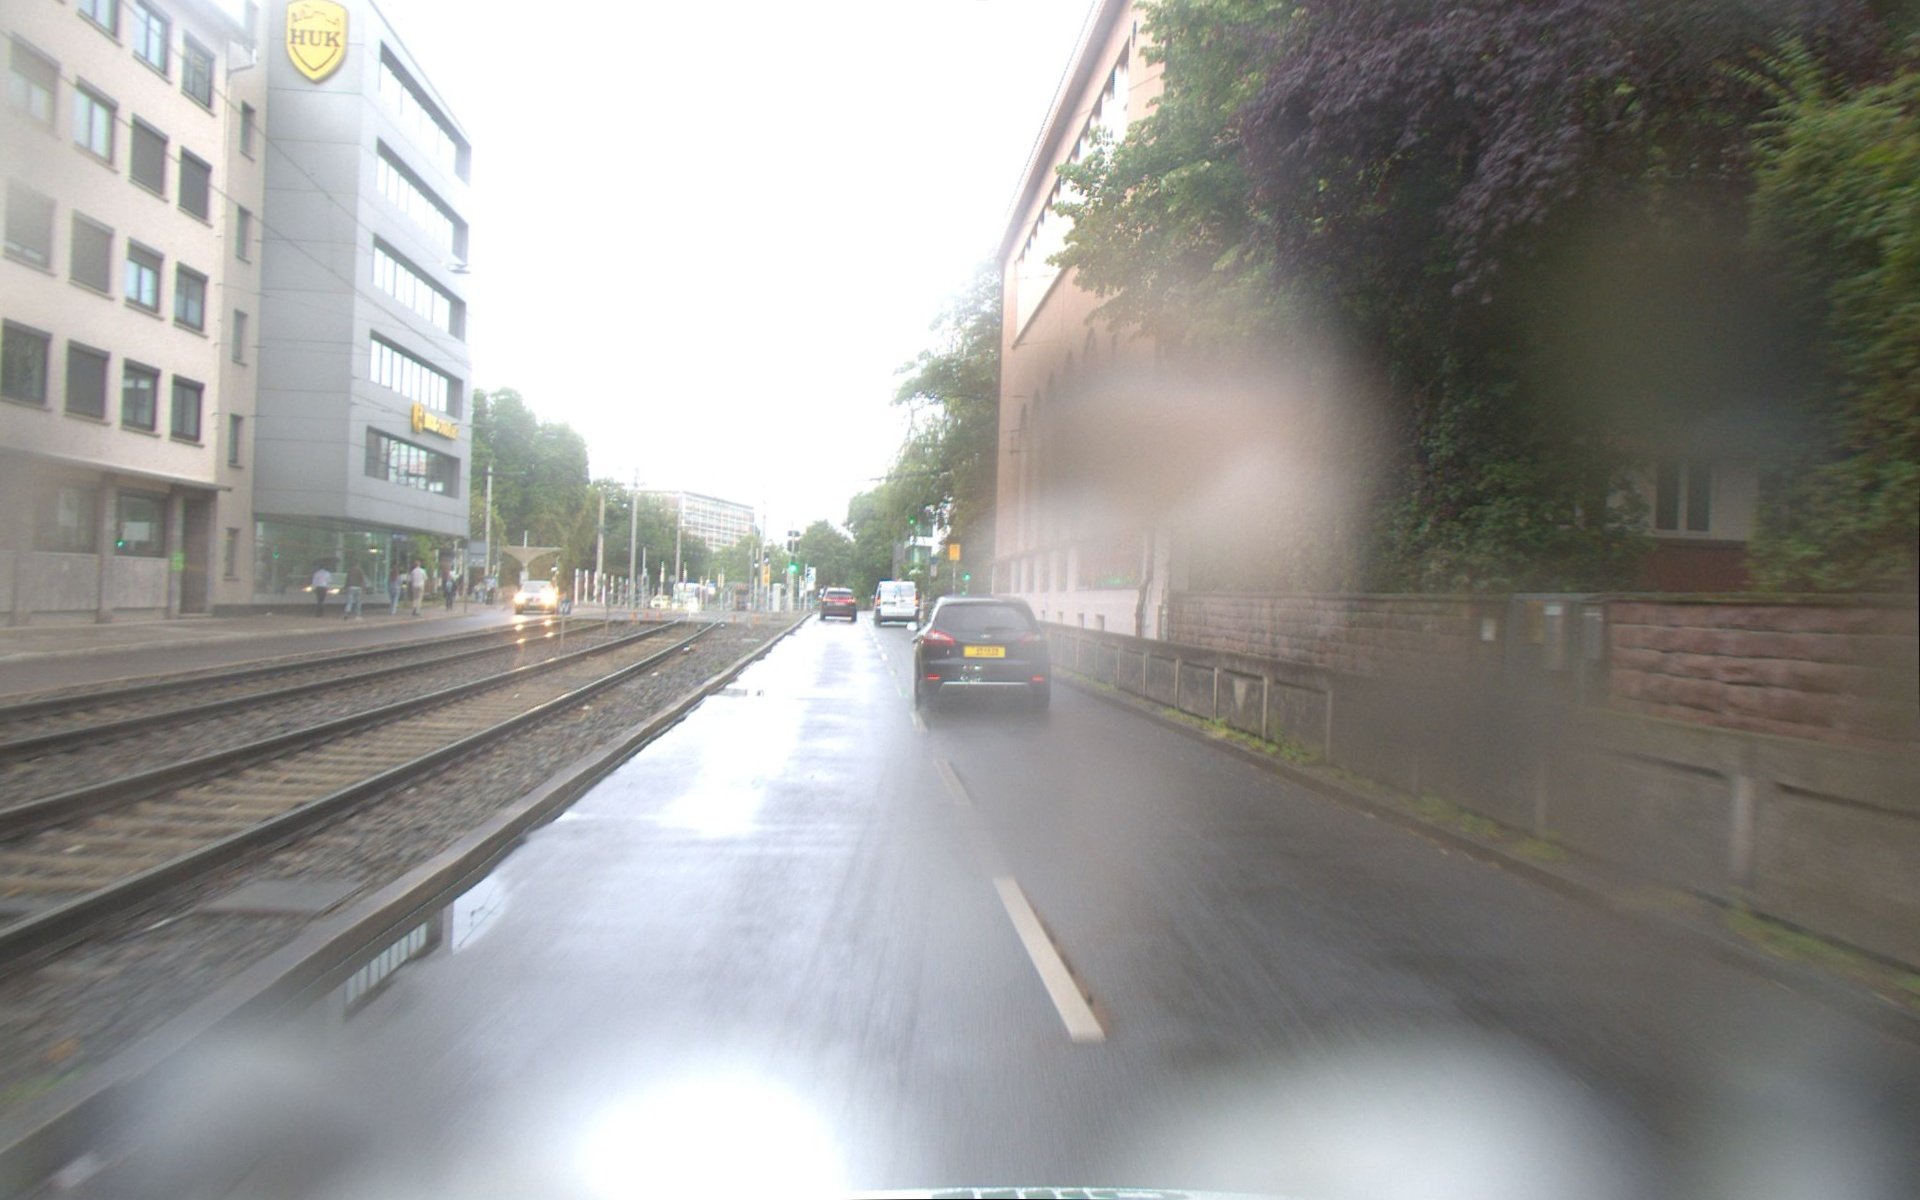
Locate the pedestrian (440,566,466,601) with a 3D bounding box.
[{"bbox_3d":[-24.179,-0.782,78.876,0.954,1.621,0.583,4,-1,-31],"label":"pedestrian"}]

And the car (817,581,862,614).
[{"bbox_3d":[-5.952,-0.131,81.913,2.057,1.532,4.729,1,0,-3],"label":"car"}]

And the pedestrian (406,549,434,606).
[{"bbox_3d":[-19.605,-0.817,60.068,0.657,2.048,0.607,4,-1,-42],"label":"pedestrian"}]

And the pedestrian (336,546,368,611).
[{"bbox_3d":[-19.598,-0.676,53.344,0.648,2.048,0.810,3,0,-4],"label":"pedestrian"}]

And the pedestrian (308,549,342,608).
[{"bbox_3d":[-20.433,-0.678,53.196,0.648,1.847,0.973,3,0,-4],"label":"pedestrian"}]

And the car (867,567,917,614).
[{"bbox_3d":[-2.907,-0.410,71.116,1.995,1.872,4.390,2,0,-2],"label":"car"}]

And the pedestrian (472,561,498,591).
[{"bbox_3d":[-27.140,-1.366,94.528,0.895,1.621,0.999,3,0,36],"label":"pedestrian"}]

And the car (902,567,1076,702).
[{"bbox_3d":[0.287,0.414,22.803,1.996,1.612,4.389,2,0,-4],"label":"car"}]

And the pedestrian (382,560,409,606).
[{"bbox_3d":[-20.422,-0.622,59.838,0.574,1.621,0.636,3,0,13],"label":"pedestrian"}]

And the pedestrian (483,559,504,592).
[{"bbox_3d":[-27.665,-1.471,98.151,0.986,1.895,0.907,4,0,-23],"label":"pedestrian"}]

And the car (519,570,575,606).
[{"bbox_3d":[-18.579,-0.548,74.587,1.903,1.563,4.342,-1,1,-7],"label":"car"}]
